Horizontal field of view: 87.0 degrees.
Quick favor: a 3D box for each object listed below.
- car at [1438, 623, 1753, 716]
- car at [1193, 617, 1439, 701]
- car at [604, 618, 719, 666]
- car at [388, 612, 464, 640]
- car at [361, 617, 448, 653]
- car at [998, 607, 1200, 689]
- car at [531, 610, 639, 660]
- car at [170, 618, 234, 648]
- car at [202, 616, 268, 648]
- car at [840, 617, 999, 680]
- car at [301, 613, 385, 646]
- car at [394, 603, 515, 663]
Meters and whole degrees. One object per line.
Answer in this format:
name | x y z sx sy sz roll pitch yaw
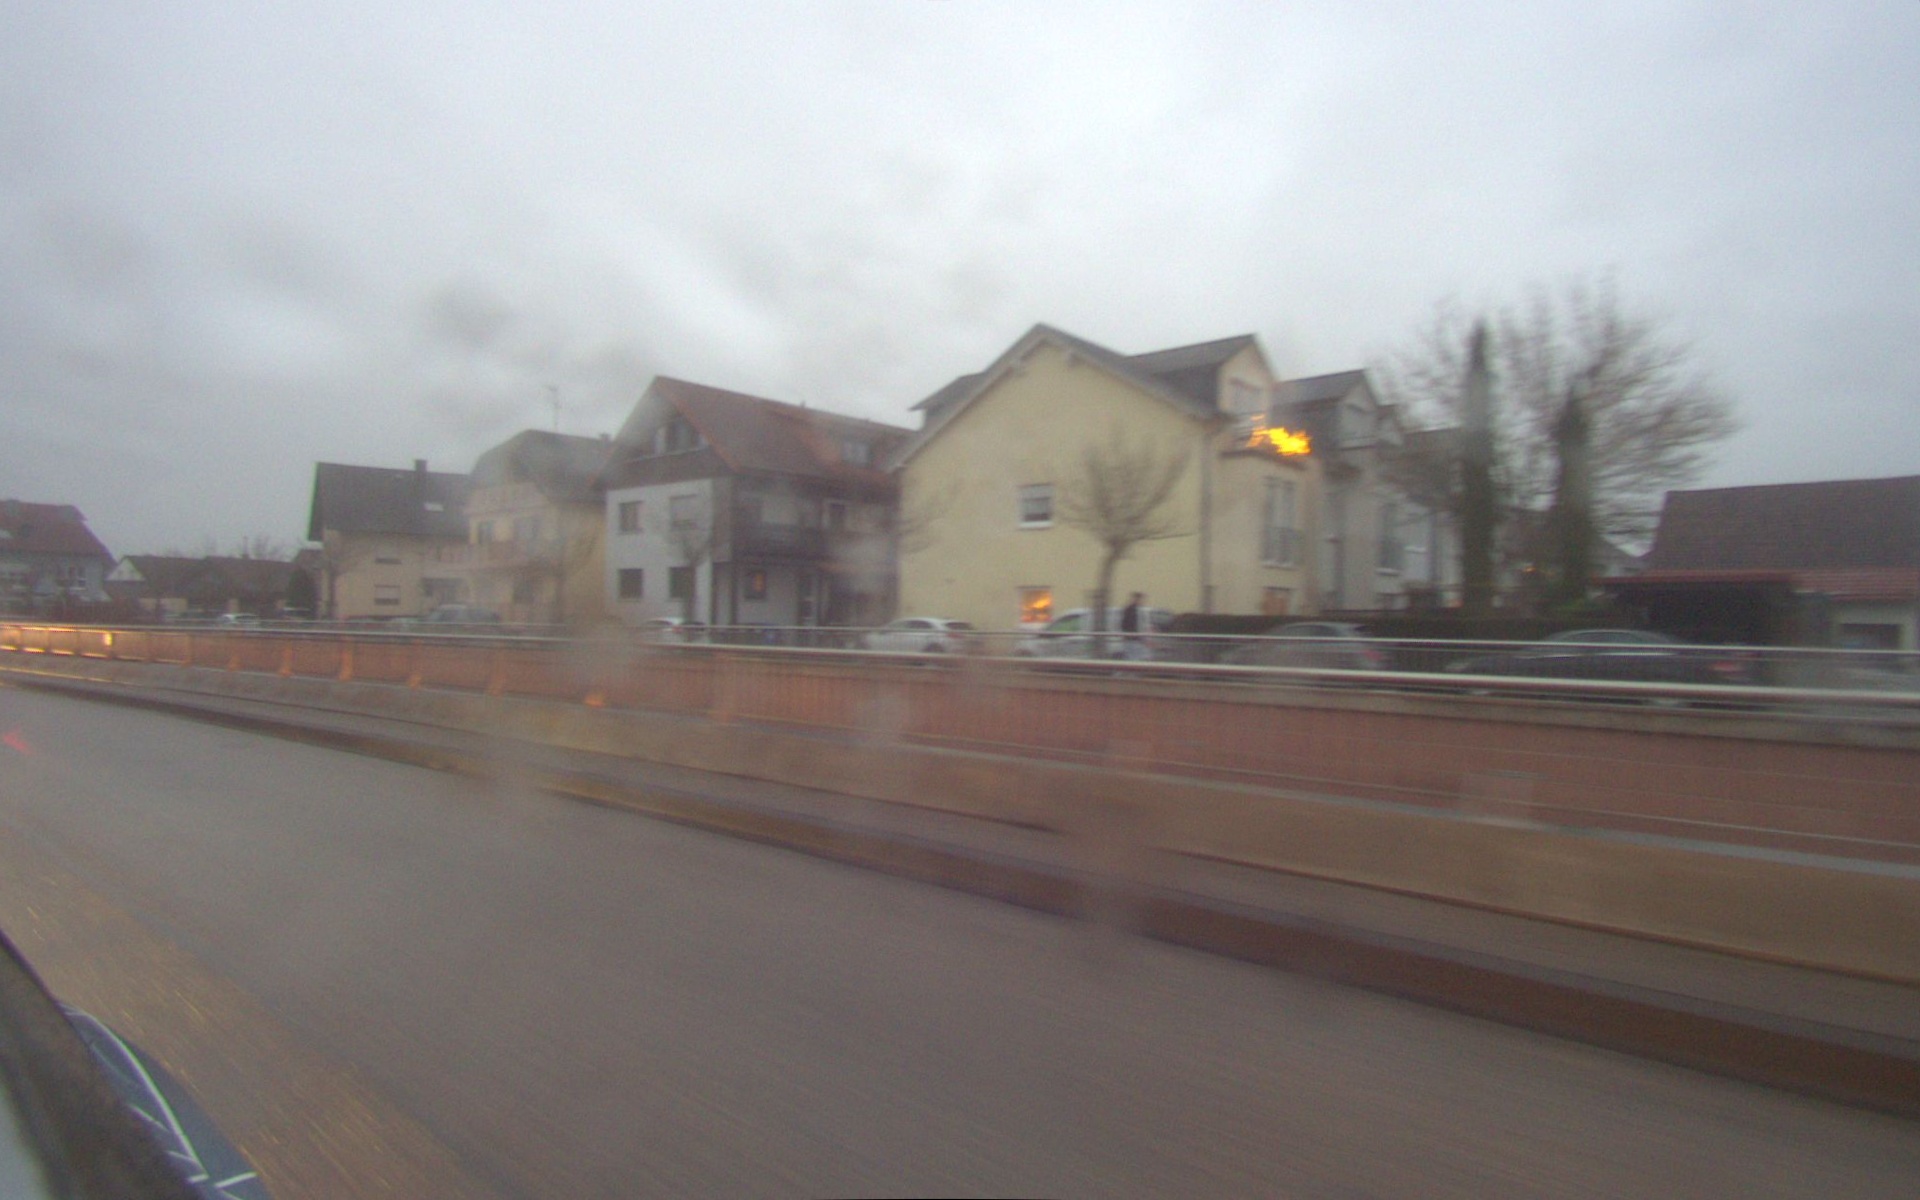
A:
car | 11.075 1.169 17.829 4.497 1.444 1.855 -2 -4 40
car | 7.344 1.197 21.137 4.497 1.584 1.855 -2 -4 40
car | -10.371 1.401 35.030 4.024 1.535 1.753 0 -1 37
car | -33.624 1.638 63.719 3.975 1.535 1.817 -2 1 -37
car | -24.729 1.523 45.032 4.136 1.517 1.860 -1 0 36
car | 3.282 1.142 24.354 4.495 1.792 1.856 -2 -3 38
car | -13.842 1.238 37.280 3.993 1.694 1.842 -1 1 37
car | -44.294 1.889 59.091 3.992 1.529 1.880 1 2 36
car | -40.302 1.751 56.260 3.977 1.636 1.801 -1 1 36
car | -1.162 1.339 27.990 4.219 1.611 1.856 -2 -3 38
car | -29.335 1.368 48.062 4.641 1.453 1.859 -1 0 38
car | -16.237 1.024 32.469 3.849 1.817 1.785 0 -1 33
